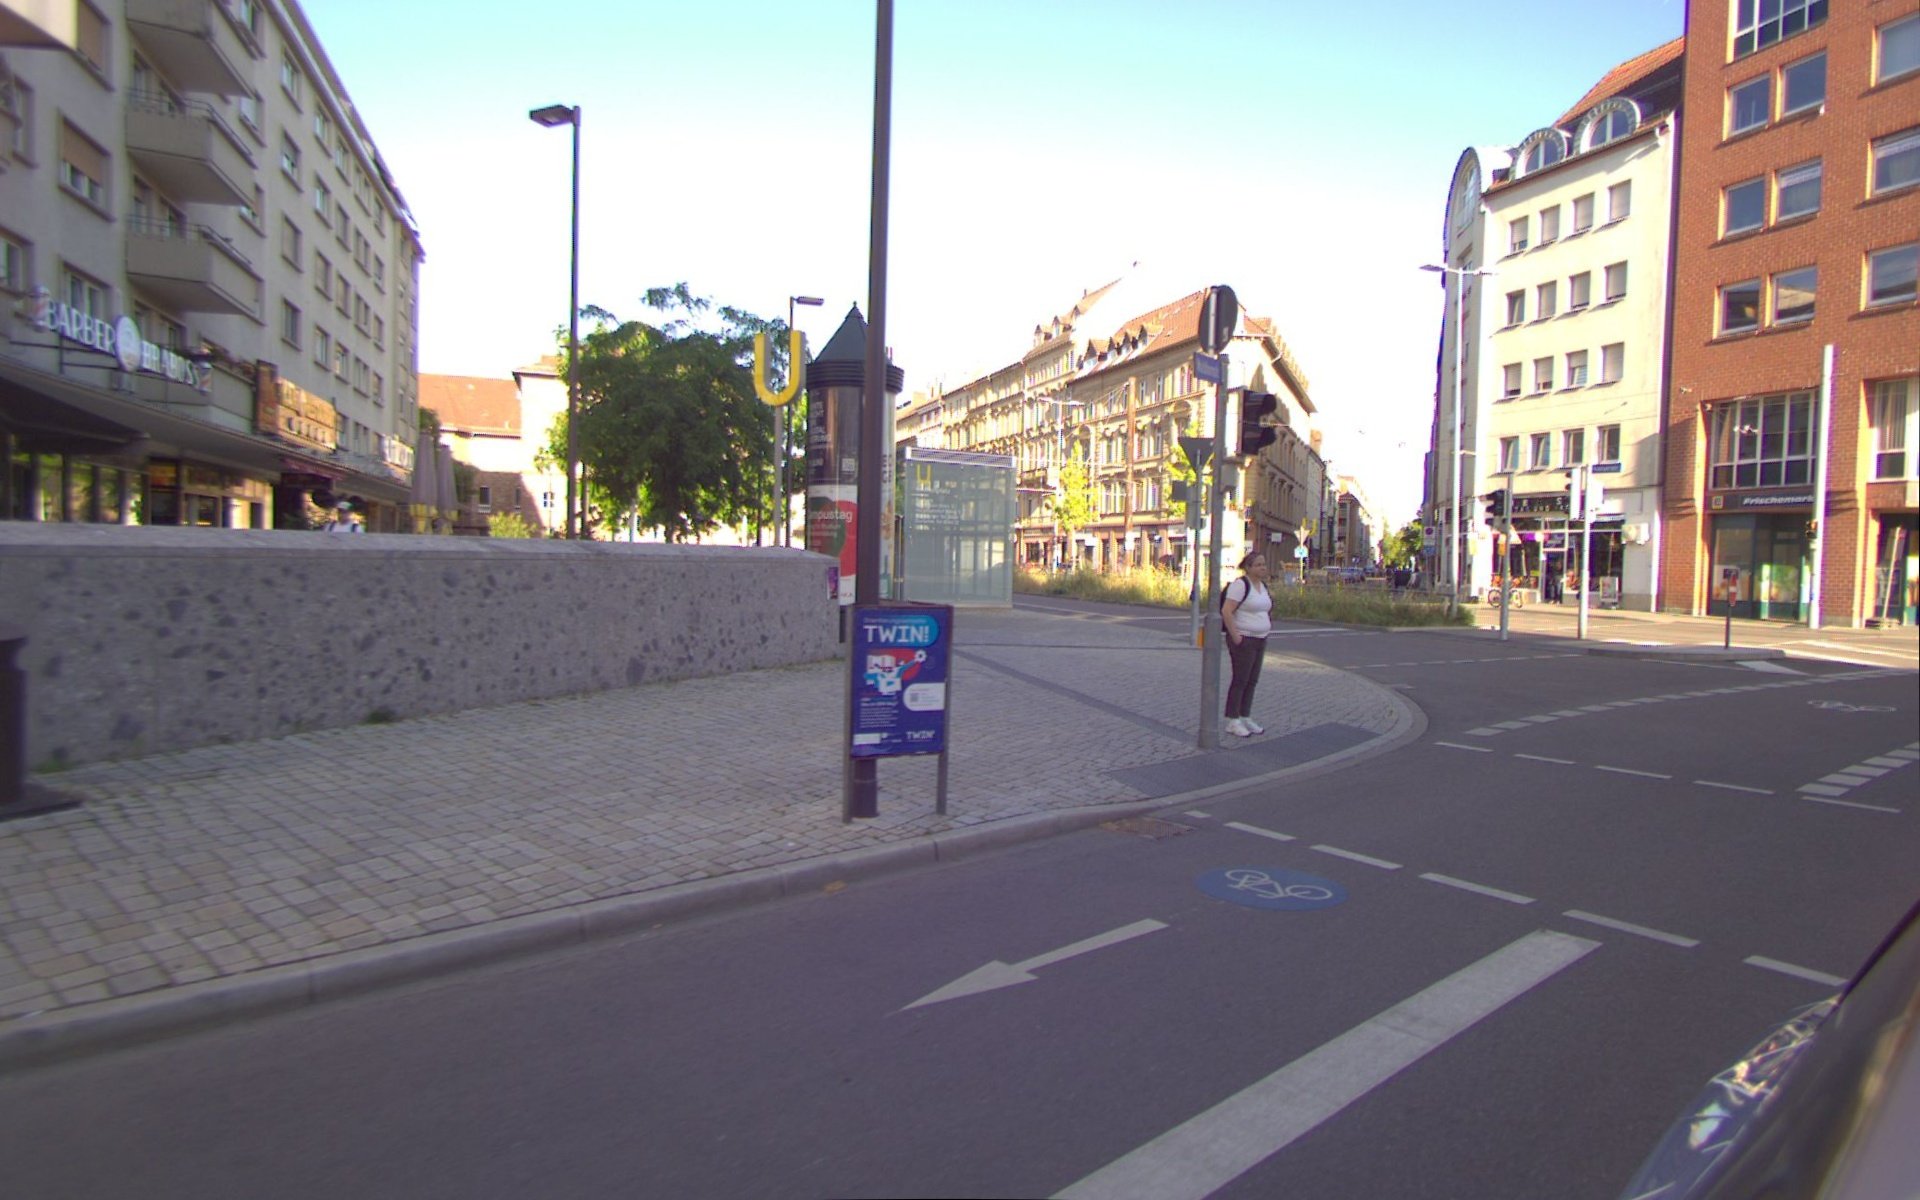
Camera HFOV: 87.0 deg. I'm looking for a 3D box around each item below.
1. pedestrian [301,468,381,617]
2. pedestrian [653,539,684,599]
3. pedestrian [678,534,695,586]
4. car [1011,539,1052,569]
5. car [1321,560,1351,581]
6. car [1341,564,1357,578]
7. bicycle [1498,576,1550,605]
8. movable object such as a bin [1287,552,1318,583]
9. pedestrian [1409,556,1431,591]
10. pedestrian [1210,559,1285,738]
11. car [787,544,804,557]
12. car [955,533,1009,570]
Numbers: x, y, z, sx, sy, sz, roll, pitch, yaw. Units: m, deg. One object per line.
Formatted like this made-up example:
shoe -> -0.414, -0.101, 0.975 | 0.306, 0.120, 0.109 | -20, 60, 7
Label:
pedestrian -> -8.235, -0.758, 13.499 | 0.673, 1.889, 1.048 | 1, 2, -18
pedestrian -> -8.657, -0.928, 30.036 | 0.703, 1.767, 0.684 | 0, 3, -30
pedestrian -> -9.066, -1.316, 33.522 | 0.496, 1.691, 0.478 | 1, 2, -18
car -> 5.459, -3.532, 77.795 | 1.774, 2.207, 3.939 | -1, 4, -19
car -> 29.594, -2.286, 79.671 | 1.712, 1.540, 3.963 | 4, 2, 27
car -> 37.549, -2.815, 97.664 | 1.406, 1.276, 2.937 | 2, 2, 21
bicycle -> 21.429, -0.379, 38.464 | 0.450, 1.002, 1.870 | -2, 3, -20
movable object such as a bin -> 20.131, -1.894, 59.463 | 1.630, 1.805, 1.392 | 0, 1, 21
pedestrian -> 22.331, -1.300, 49.137 | 0.682, 1.657, 0.959 | 1, 3, 11
pedestrian -> 2.705, 0.426, 9.500 | 0.536, 1.603, 0.552 | 2, 2, 27
car -> -27.374, -8.161, 168.754 | 2.188, 2.039, 4.353 | 0, 1, -17
car -> 1.879, -4.257, 87.846 | 2.234, 3.058, 5.374 | -1, 4, -29
